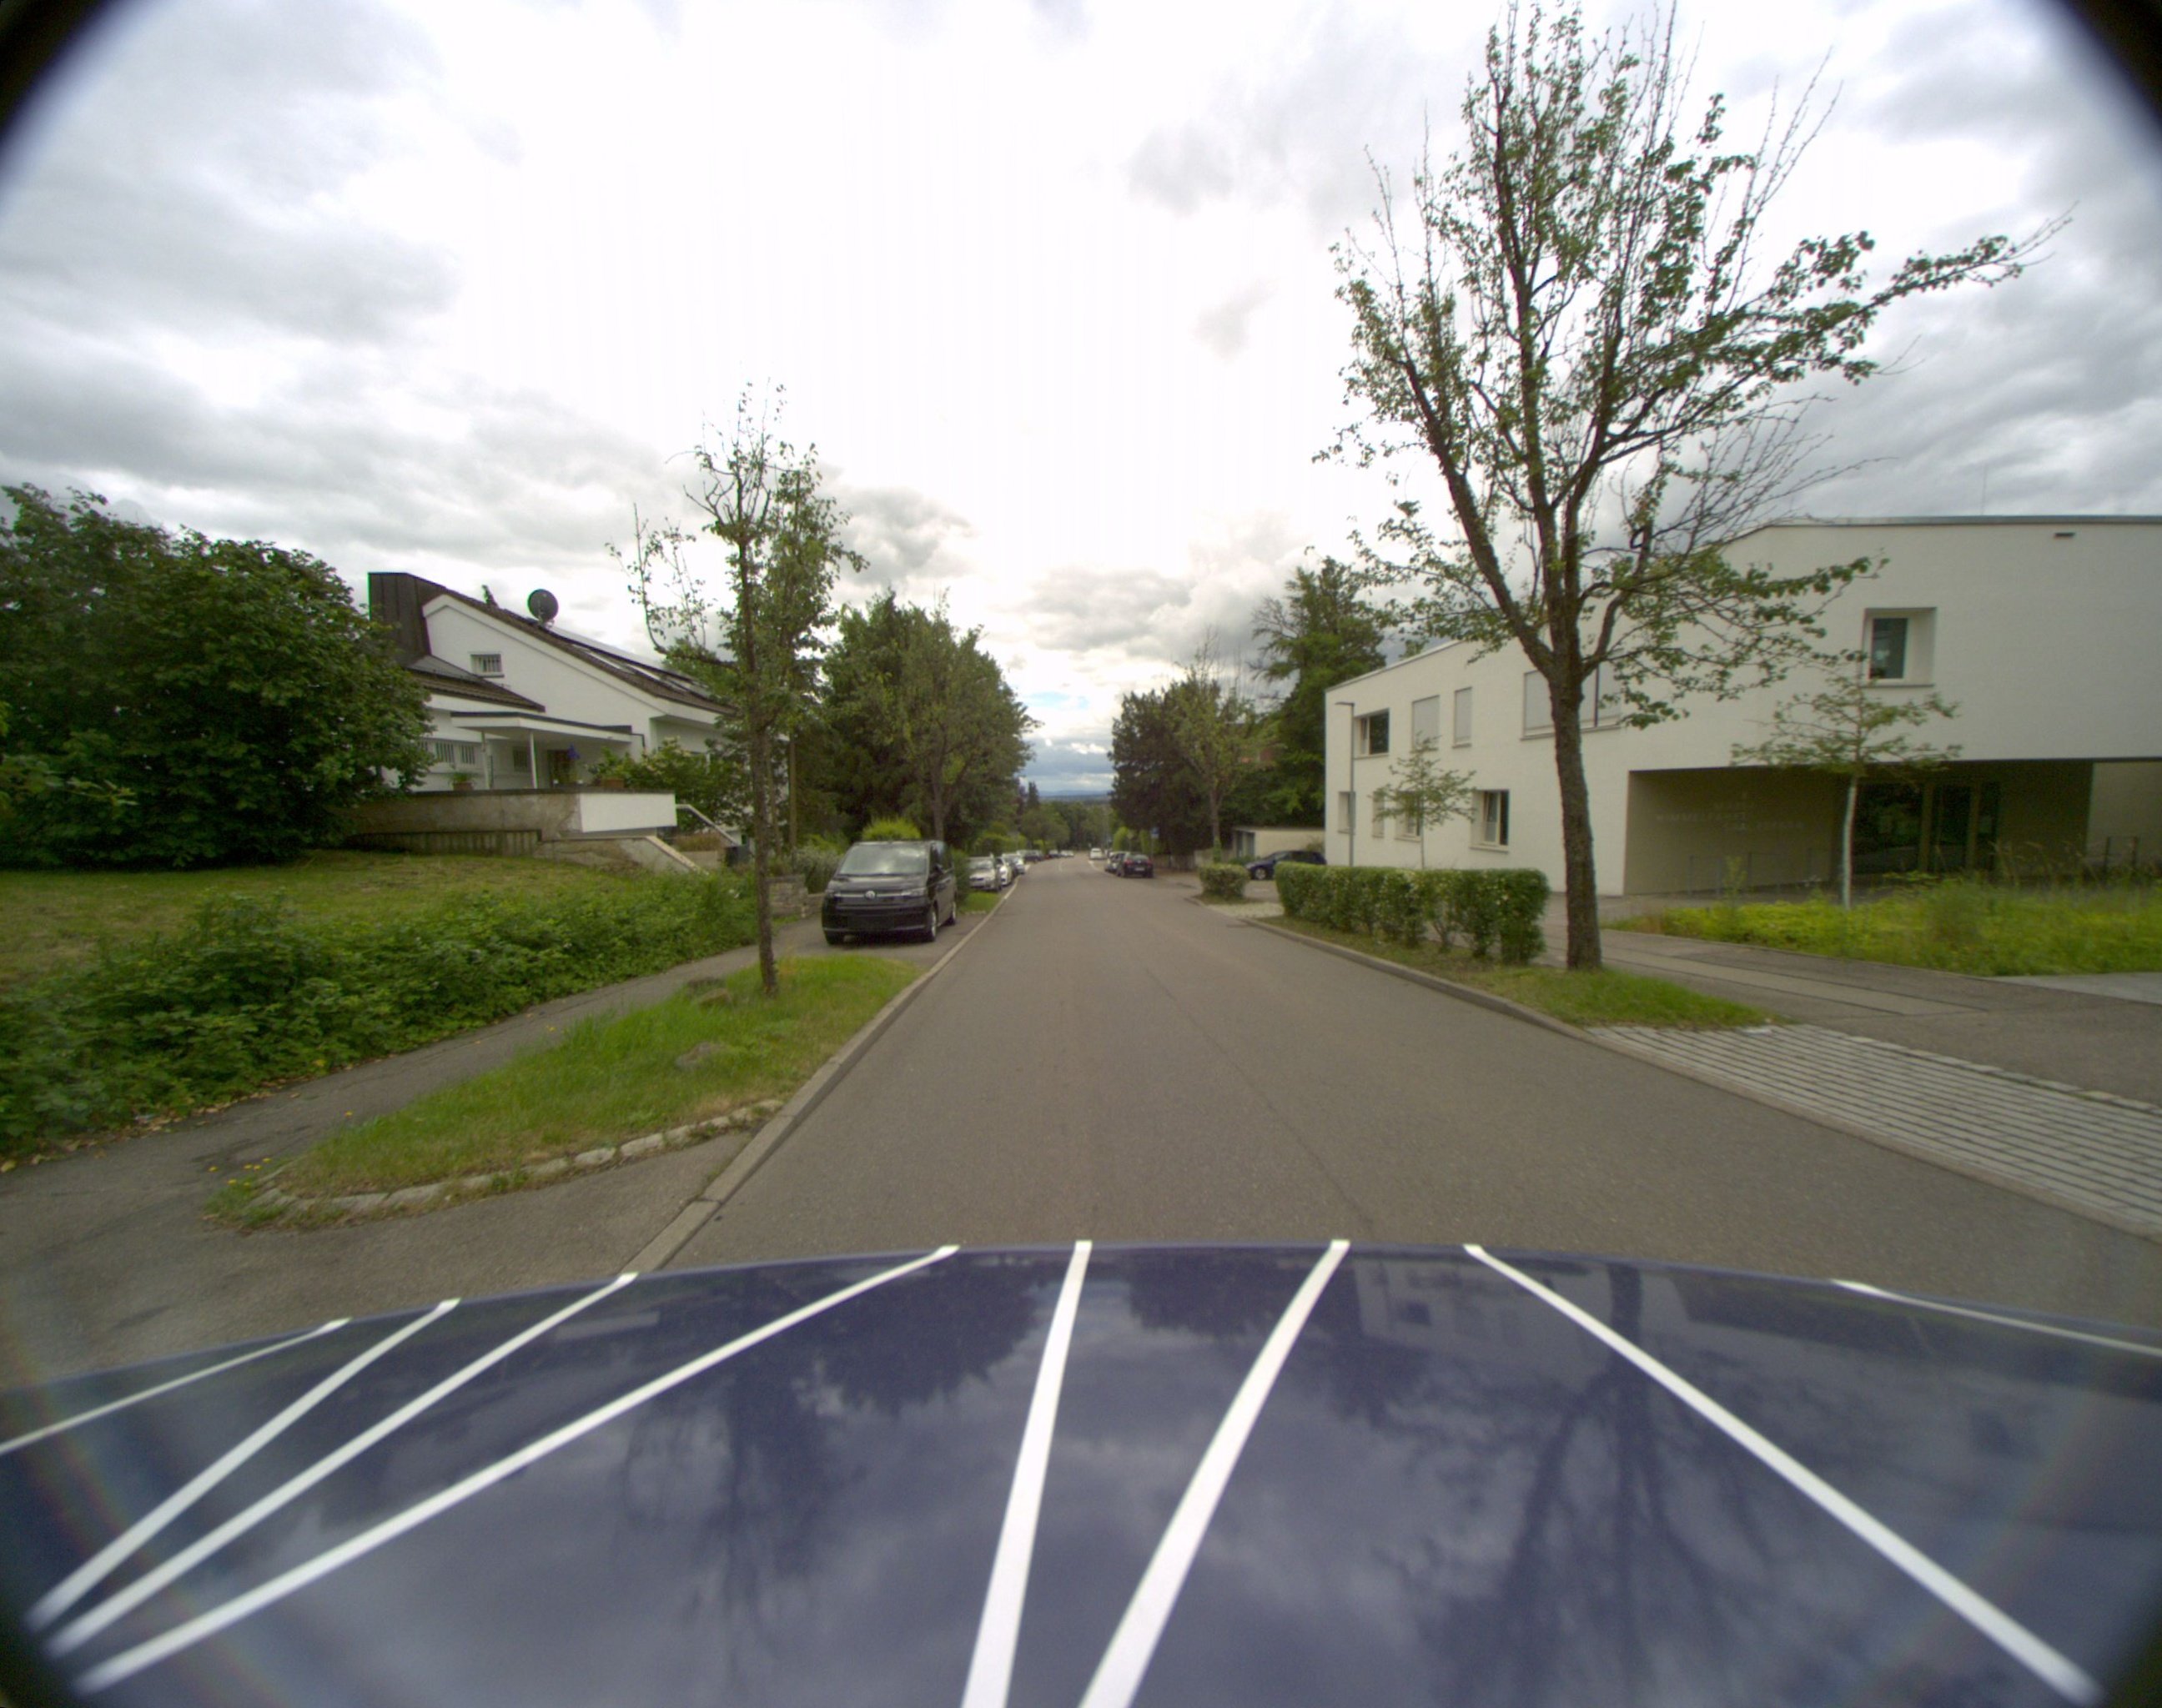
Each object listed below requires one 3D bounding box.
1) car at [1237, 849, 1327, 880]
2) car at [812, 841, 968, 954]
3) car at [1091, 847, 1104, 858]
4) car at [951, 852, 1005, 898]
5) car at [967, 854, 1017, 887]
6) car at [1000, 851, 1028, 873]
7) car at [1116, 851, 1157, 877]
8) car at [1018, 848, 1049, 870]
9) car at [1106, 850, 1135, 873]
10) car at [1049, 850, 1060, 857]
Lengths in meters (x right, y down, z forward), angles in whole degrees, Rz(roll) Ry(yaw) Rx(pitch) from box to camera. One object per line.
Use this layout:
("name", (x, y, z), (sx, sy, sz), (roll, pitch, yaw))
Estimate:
("car", (9.611, 0.482, 36.483), (3.804, 1.346, 1.741), (-1, 1, -2))
("car", (-3.538, 0.697, 15.148), (1.941, 1.827, 5.217), (-1, 1, -2))
("car", (2.236, -0.210, 101.982), (1.693, 1.411, 3.579), (1, 1, 1))
("car", (-4.092, 0.786, 30.828), (1.721, 1.623, 3.927), (-3, 1, -2))
("car", (-4.354, 0.781, 37.742), (1.999, 1.483, 5.003), (0, 0, -2))
("car", (-5.155, 0.593, 58.151), (2.007, 1.599, 4.755), (0, 0, -7))
("car", (3.253, 0.563, 45.487), (1.856, 1.461, 4.681), (-1, 0, -4))
("car", (-5.237, 0.480, 84.297), (1.996, 2.002, 4.003), (-6, 2, 17))
("car", (2.755, 0.509, 53.466), (1.628, 1.510, 2.974), (-1, 1, -3))
("car", (-5.223, -0.085, 148.527), (1.998, 1.221, 3.999), (-1, 1, 1))
